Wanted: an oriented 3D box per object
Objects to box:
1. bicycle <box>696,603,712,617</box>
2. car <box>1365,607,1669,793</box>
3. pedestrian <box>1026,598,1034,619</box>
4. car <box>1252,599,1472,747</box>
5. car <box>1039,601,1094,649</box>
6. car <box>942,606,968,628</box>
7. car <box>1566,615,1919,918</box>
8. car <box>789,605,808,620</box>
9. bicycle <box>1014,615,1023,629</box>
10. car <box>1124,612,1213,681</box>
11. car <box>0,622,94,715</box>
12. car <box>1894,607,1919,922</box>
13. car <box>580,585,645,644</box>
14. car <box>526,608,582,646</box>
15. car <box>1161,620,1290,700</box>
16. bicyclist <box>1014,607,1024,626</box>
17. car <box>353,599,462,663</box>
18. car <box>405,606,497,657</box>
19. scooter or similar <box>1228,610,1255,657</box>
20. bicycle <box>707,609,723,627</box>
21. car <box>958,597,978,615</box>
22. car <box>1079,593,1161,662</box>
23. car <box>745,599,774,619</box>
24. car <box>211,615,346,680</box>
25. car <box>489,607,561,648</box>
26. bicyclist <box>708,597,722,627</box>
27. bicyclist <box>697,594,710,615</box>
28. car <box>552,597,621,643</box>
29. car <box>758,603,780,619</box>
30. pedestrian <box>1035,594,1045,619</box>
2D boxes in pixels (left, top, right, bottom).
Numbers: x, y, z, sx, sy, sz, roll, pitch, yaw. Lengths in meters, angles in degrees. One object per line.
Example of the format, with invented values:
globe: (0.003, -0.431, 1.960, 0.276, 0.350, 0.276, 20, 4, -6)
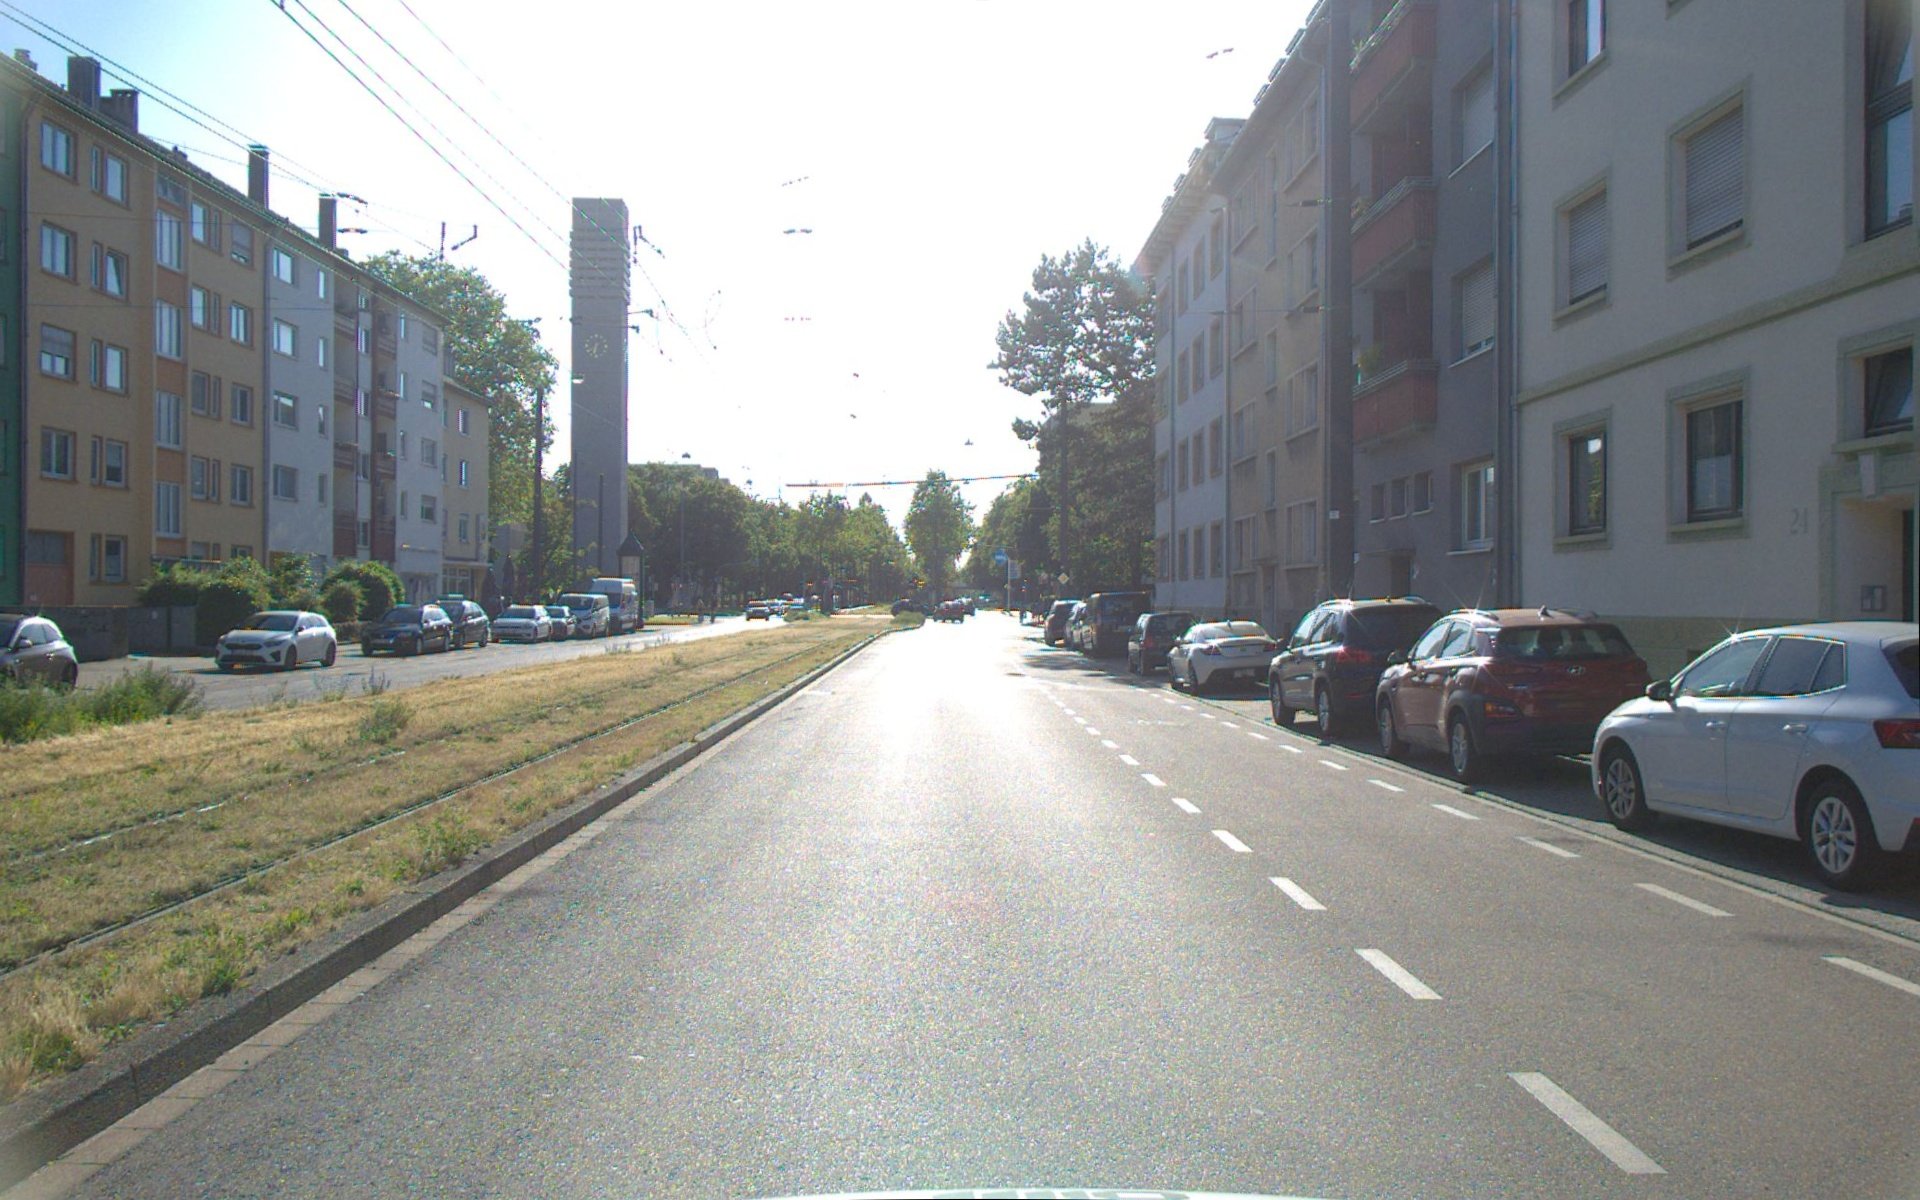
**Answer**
bicycle: (-16.945, 0.662, 109.425, 0.752, 0.895, 2.068, -1, 0, -1)
car: (5.369, 0.877, 16.513, 1.602, 1.544, 4.188, -1, 1, 0)
pedestrian: (5.258, 0.613, 124.678, 0.518, 1.555, 0.628, -1, 0, 5)
car: (5.191, 0.867, 21.945, 1.603, 1.676, 4.371, -2, 1, -3)
car: (4.259, 0.976, 66.879, 1.840, 1.746, 4.934, -3, 0, 0)
car: (-0.390, 1.243, 122.946, 1.660, 1.534, 3.697, 2, 0, -3)
car: (5.618, 0.887, 10.735, 1.603, 1.484, 4.078, -1, 1, -5)
car: (-16.789, 1.291, 172.093, 1.653, 1.560, 4.360, 0, 0, -1)
bicycle: (4.317, 1.613, 121.874, 0.634, 0.989, 1.804, 3, 0, 2)
car: (5.012, 1.080, 40.224, 1.602, 1.479, 3.789, -2, 0, -1)
car: (-17.457, 1.212, 30.017, 1.603, 1.467, 3.732, 2, 0, -3)
car: (5.363, 0.788, 5.819, 1.659, 1.484, 4.379, -1, 1, 0)
car: (-18.136, 0.693, 86.621, 1.990, 2.919, 6.228, 1, 0, 0)
car: (-18.080, 1.194, 73.846, 1.661, 1.541, 4.323, 1, 0, -3)
car: (5.145, 1.127, 32.544, 1.668, 1.297, 4.302, -3, 0, -2)
bicyclist: (4.342, 1.222, 121.898, 0.625, 1.346, 0.803, 3, 0, 1)
car: (-17.742, 0.963, 53.368, 1.953, 1.870, 4.608, 2, 0, -1)
car: (-18.035, 1.090, 58.822, 1.953, 1.635, 4.150, 3, 0, -1)
scooter or similar: (7.959, 0.930, 46.836, 0.449, 1.260, 1.338, -3, 0, 0)
bicycle: (-17.026, 1.260, 114.942, 0.752, 1.166, 2.474, -2, 0, -1)
car: (0.789, 0.602, 166.156, 1.856, 1.639, 4.499, 3, 0, -2)
car: (4.931, 0.798, 51.648, 1.874, 1.932, 5.134, -3, 0, -1)
car: (-15.213, 0.672, 125.410, 1.659, 1.473, 4.217, -1, 0, 0)
car: (-17.553, 1.189, 42.831, 1.693, 1.480, 4.375, 1, 0, -1)
car: (-17.873, 1.094, 68.127, 1.854, 1.517, 4.701, 2, 0, -3)
bicyclist: (-16.997, 0.820, 114.751, 0.757, 2.048, 0.648, 3, 0, -1)
bicyclist: (-16.937, 0.312, 109.405, 0.757, 1.408, 0.648, 0, 0, -1)
car: (-17.909, 0.921, 79.609, 1.991, 2.056, 5.370, 3, 0, 0)
car: (-19.723, 1.141, 170.831, 1.770, 1.560, 4.360, 0, 0, -1)
pedestrian: (6.049, 0.488, 124.560, 0.688, 1.821, 0.694, -2, 1, 5)
